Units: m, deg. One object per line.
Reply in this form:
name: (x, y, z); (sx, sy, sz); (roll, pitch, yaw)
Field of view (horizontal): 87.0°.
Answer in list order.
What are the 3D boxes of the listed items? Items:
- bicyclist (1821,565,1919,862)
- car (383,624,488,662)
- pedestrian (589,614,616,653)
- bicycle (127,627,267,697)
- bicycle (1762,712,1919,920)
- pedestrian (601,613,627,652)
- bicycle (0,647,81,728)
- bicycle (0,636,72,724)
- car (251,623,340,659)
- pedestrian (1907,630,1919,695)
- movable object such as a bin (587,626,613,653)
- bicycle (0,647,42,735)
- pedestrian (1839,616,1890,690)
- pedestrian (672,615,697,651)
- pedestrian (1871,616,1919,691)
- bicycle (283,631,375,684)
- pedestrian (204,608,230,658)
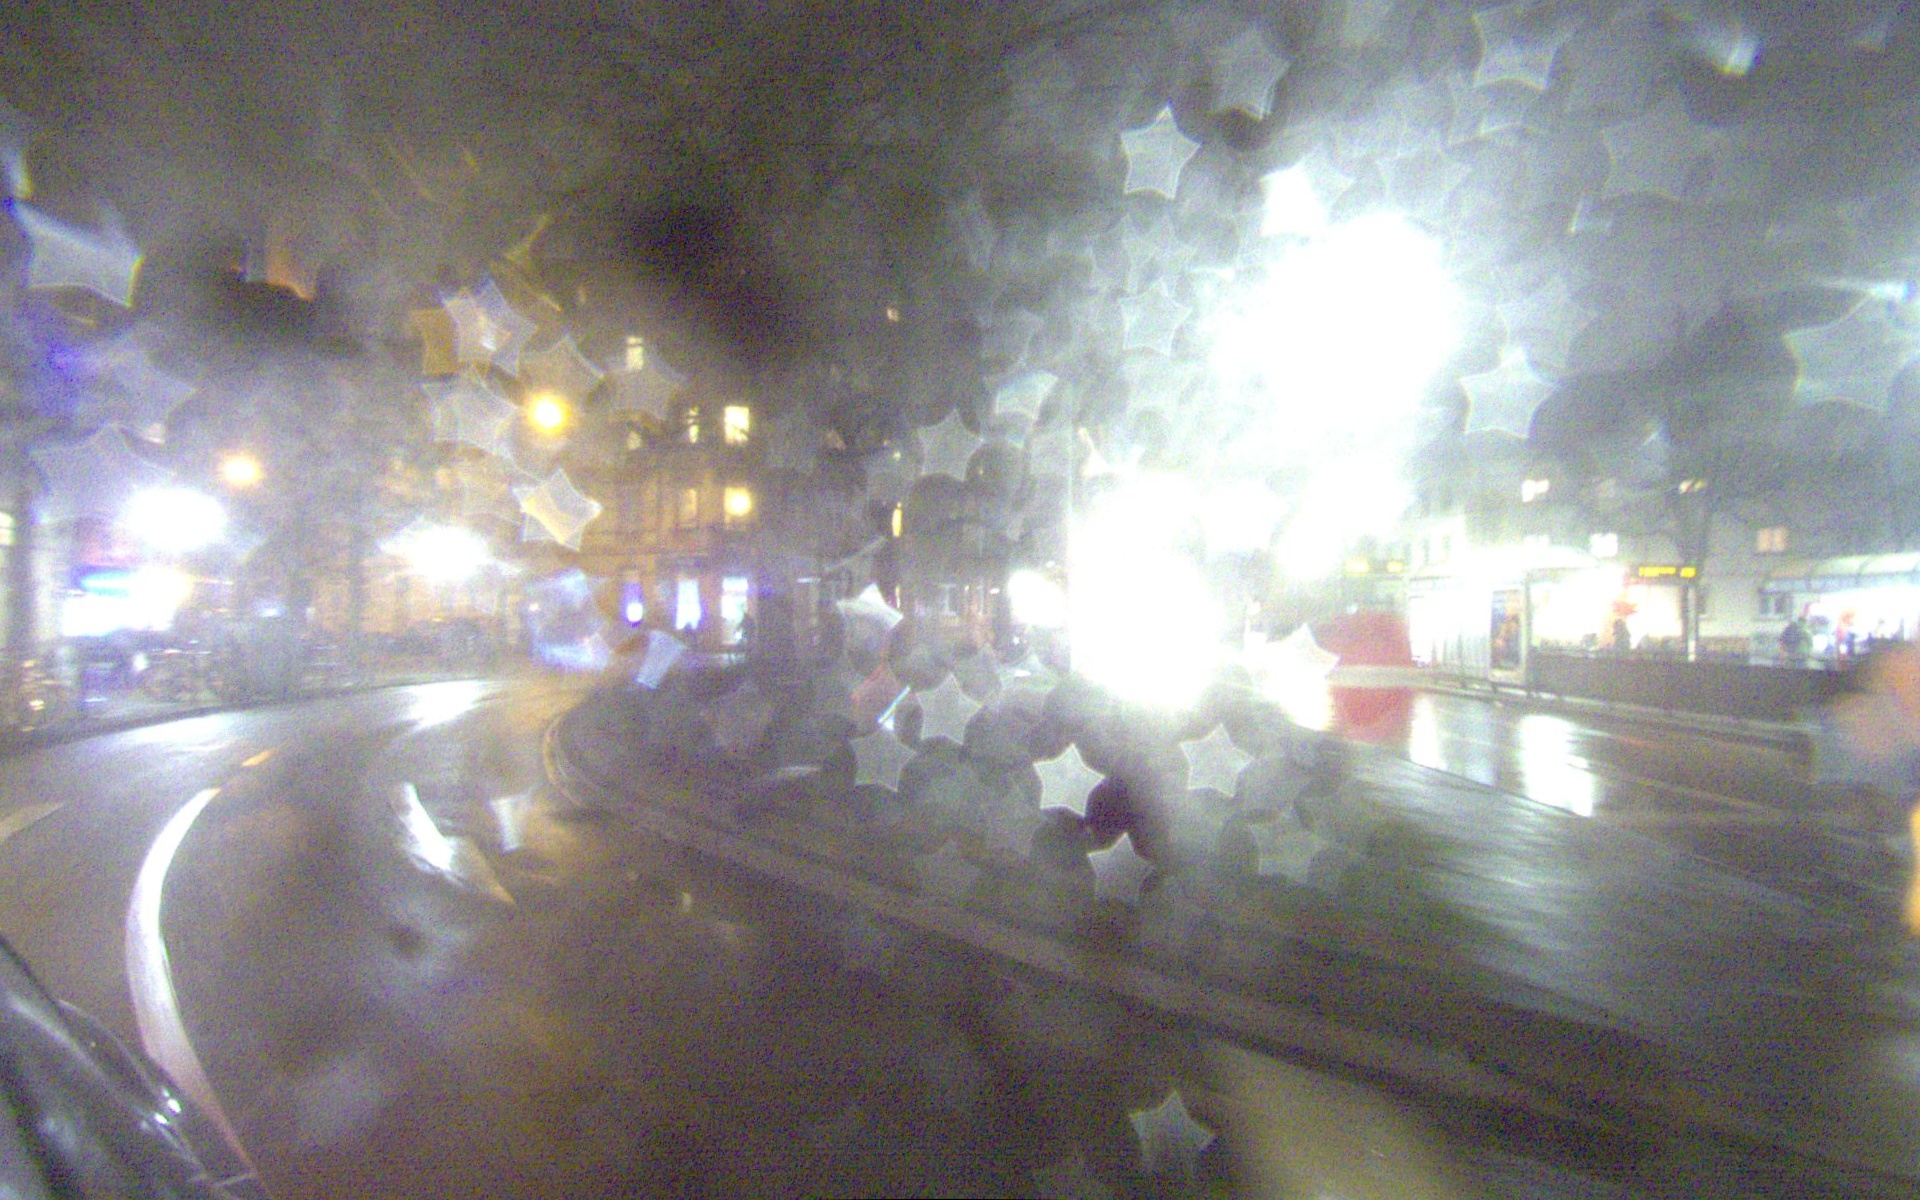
bicyclist: (5.290, 0.588, 5.430); (0.564, 1.559, 0.816); (-2, -1, 1)
car: (-23.744, 1.921, 45.845); (4.469, 1.605, 1.874); (-1, 0, 25)
pedestrian: (-15.501, 1.451, 43.913); (0.870, 1.650, 0.629); (-3, -1, 26)
bicycle: (-13.699, 1.100, 18.222); (1.844, 1.226, 0.732); (1, -1, -13)
bicycle: (5.306, 1.184, 5.421); (0.564, 0.976, 1.780); (-2, -1, 0)
pedestrian: (-15.214, 1.439, 44.477); (0.839, 1.650, 0.628); (-3, -1, 27)
bicycle: (-12.524, 1.098, 12.863); (1.900, 0.995, 0.732); (1, -1, -13)
bicycle: (-13.027, 1.039, 13.301); (1.900, 1.123, 0.732); (1, -1, -13)
car: (-33.173, 2.035, 50.507); (4.264, 1.716, 1.864); (-1, 0, 27)
pedestrian: (19.430, 1.250, 20.240); (0.576, 1.263, 0.625); (-2, -1, -42)
movable object such as a bin: (-15.954, 1.743, 44.862); (0.918, 1.124, 0.628); (-3, -1, 27)
bicycle: (-12.297, 1.071, 12.030); (1.942, 1.014, 0.690); (1, -1, -13)
pedestrian: (19.537, 1.135, 21.861); (0.503, 1.559, 0.577); (-2, -1, -16)
pedestrian: (-11.931, 1.427, 43.824); (0.763, 1.504, 0.629); (-3, -1, 24)
pedestrian: (19.714, 1.118, 21.294); (0.472, 1.540, 0.588); (-2, -1, -16)
bicycle: (-13.736, 1.241, 22.063); (1.598, 1.090, 0.566); (0, 1, -14)
pedestrian: (-26.849, 1.209, 36.576); (0.678, 1.777, 1.046); (0, -3, -31)
